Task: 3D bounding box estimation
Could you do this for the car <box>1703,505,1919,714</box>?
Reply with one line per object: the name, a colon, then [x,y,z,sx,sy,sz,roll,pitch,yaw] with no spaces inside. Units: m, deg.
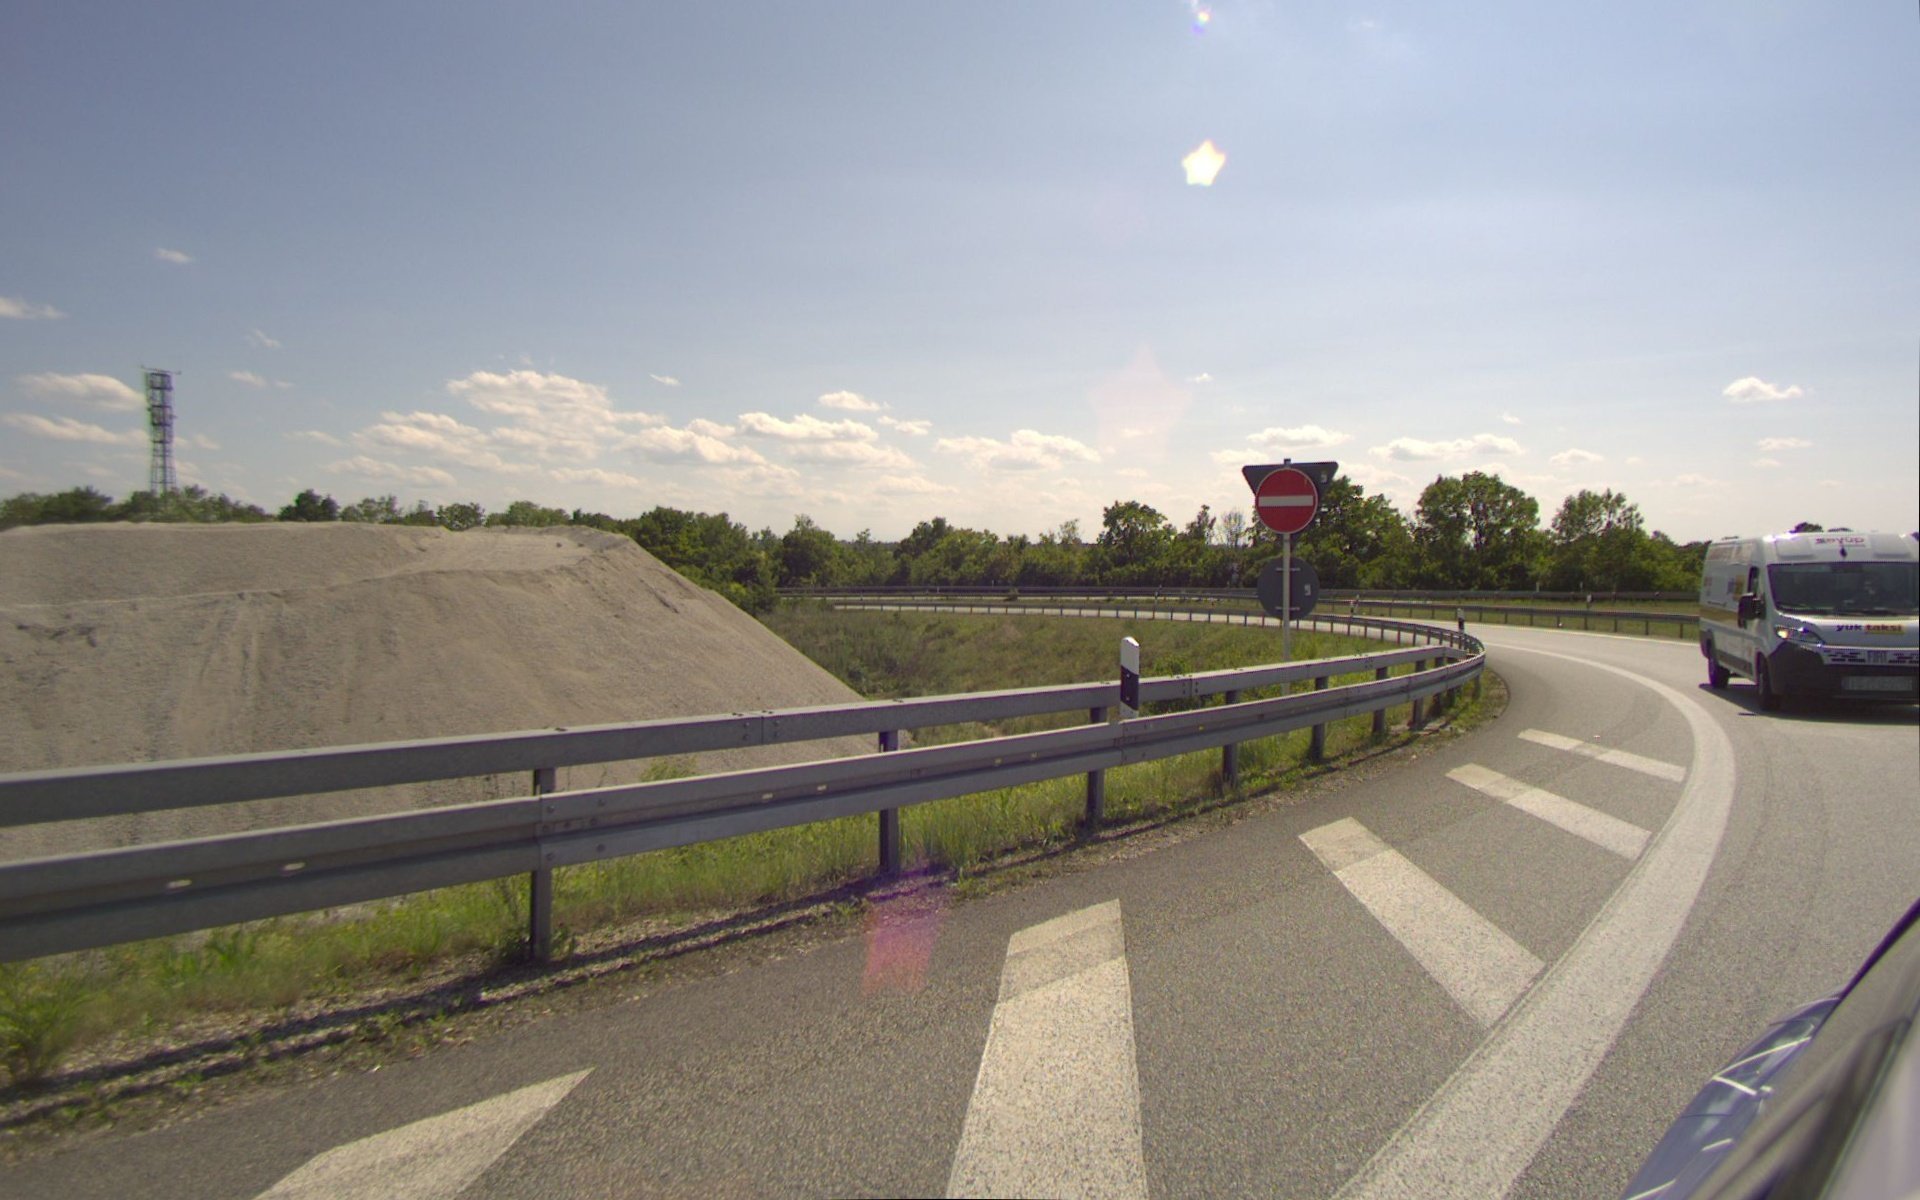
car: [12.951,0.125,15.236,2.071,2.556,6.171,-1,-1,30]
